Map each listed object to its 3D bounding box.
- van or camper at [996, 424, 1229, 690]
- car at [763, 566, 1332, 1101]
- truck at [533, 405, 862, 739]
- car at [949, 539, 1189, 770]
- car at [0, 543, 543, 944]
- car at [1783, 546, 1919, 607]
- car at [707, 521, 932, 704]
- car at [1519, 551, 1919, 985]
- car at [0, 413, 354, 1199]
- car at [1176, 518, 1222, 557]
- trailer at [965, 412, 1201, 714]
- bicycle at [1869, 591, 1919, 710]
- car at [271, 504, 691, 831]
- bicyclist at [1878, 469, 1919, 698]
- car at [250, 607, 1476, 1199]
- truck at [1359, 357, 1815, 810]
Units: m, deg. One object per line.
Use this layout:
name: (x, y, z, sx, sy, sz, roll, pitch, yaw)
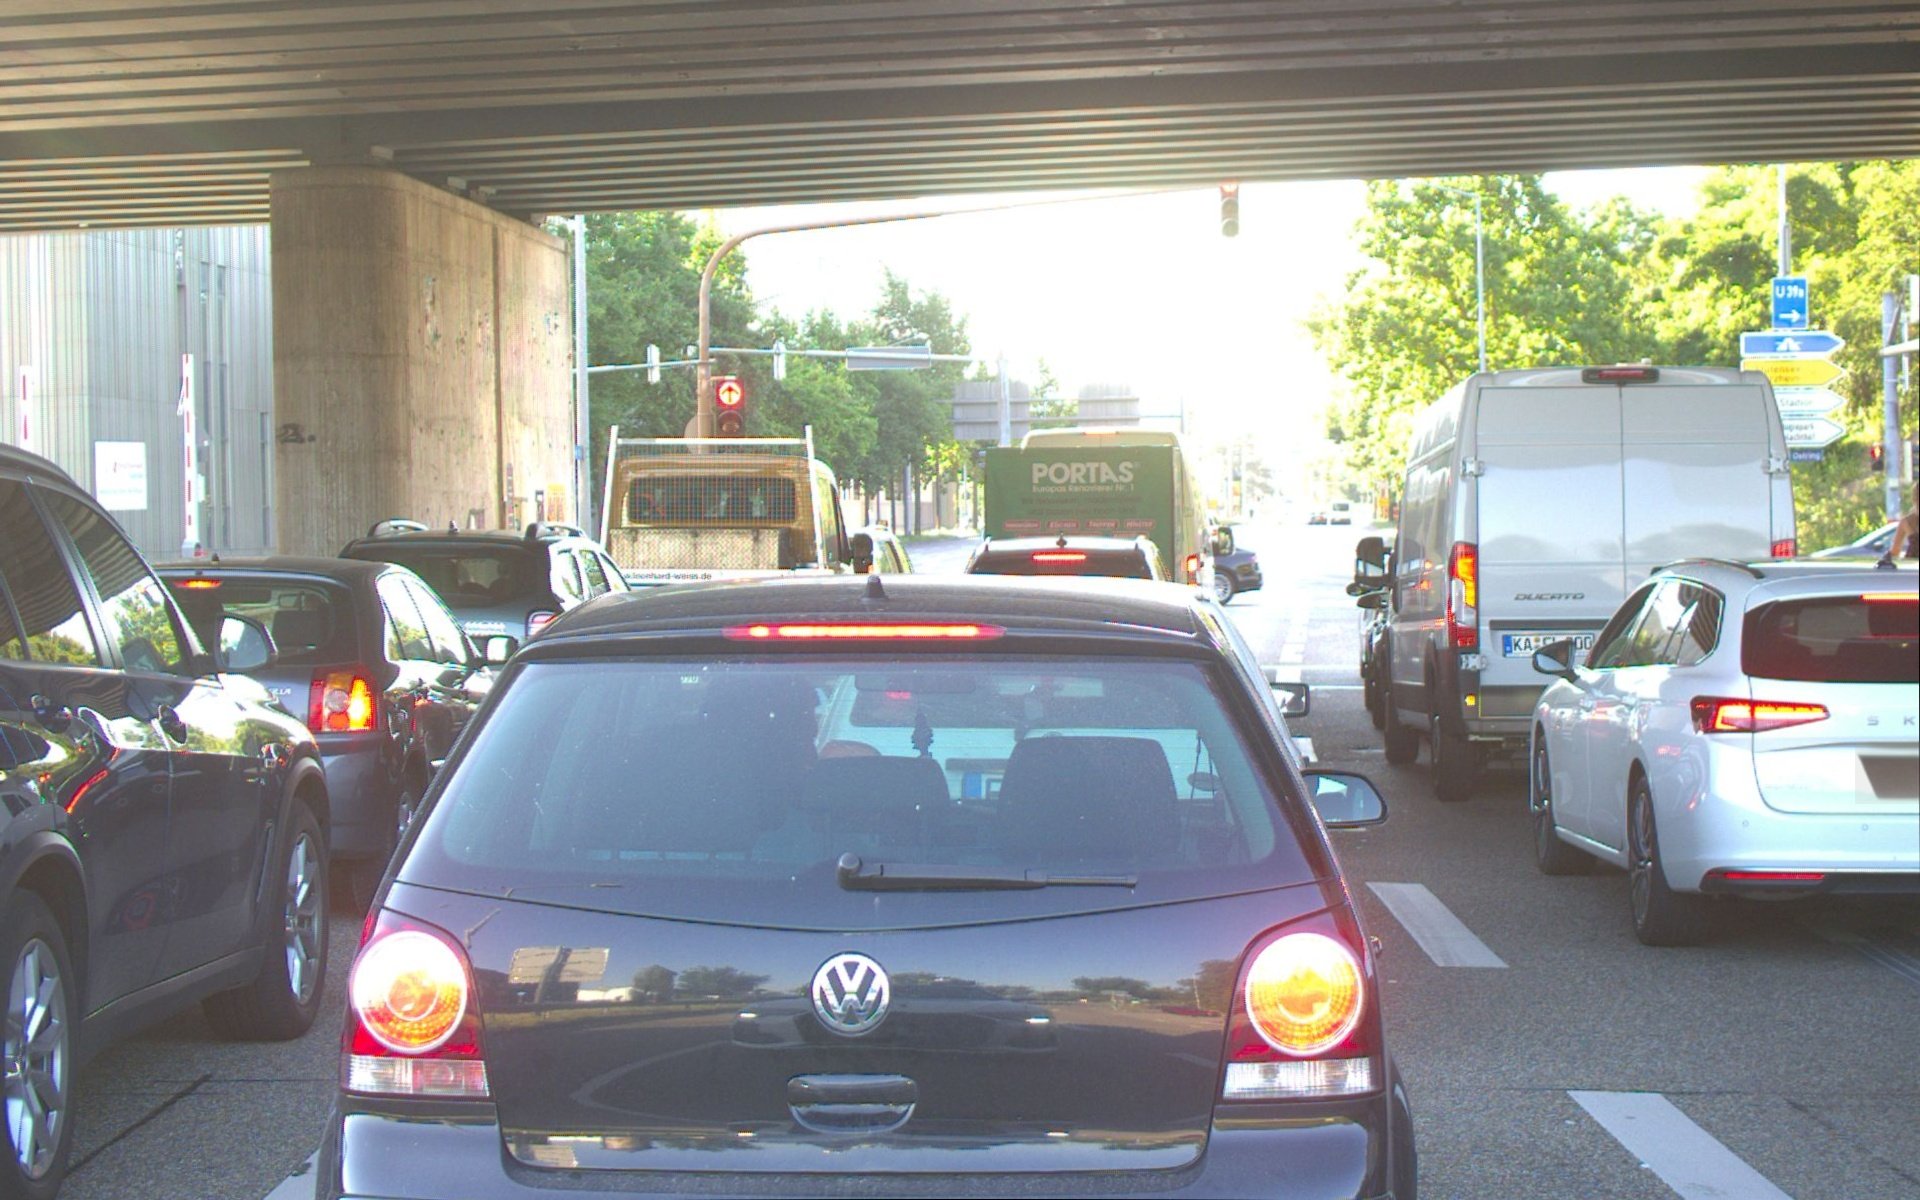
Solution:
van or camper: (1.699, -0.419, 36.157, 1.994, 2.562, 5.916, 0, 0, 7)
car: (0.300, 0.656, 11.571, 1.547, 1.418, 3.417, -4, 1, 2)
truck: (-2.095, -0.220, 29.104, 2.028, 2.548, 5.537, 0, 0, 3)
car: (0.814, 0.361, 24.659, 1.582, 1.527, 3.831, 0, 0, 3)
car: (-3.000, 0.552, 15.019, 1.841, 1.435, 3.675, -4, 0, 0)
car: (16.412, -0.426, 62.178, 2.823, 1.077, 1.218, 0, 0, 6)
car: (-1.491, 0.132, 37.972, 1.994, 1.894, 3.999, -1, 0, 5)
car: (3.401, 0.572, 13.883, 1.772, 1.490, 3.831, -2, 0, 2)
car: (-2.861, 0.492, 8.665, 1.829, 1.732, 4.461, -1, 0, 0)
car: (8.689, -2.261, 124.999, 1.339, 1.277, 2.893, -4, 0, -1)
trailer: (1.155, -0.310, 30.585, 1.864, 2.456, 3.831, -2, 0, 4)
bicycle: (8.119, 0.406, 28.690, 0.579, 0.960, 2.885, -1, 0, 6)
car: (-2.829, 0.367, 21.180, 1.841, 1.713, 4.000, -4, 0, 1)
bicyclist: (8.126, -0.141, 28.853, 0.682, 1.900, 0.833, 0, 0, 6)
car: (-0.165, 0.716, 6.353, 1.581, 1.404, 3.832, 0, 0, -1)
truck: (3.825, -0.103, 21.791, 2.111, 2.511, 4.401, -2, 0, 1)
